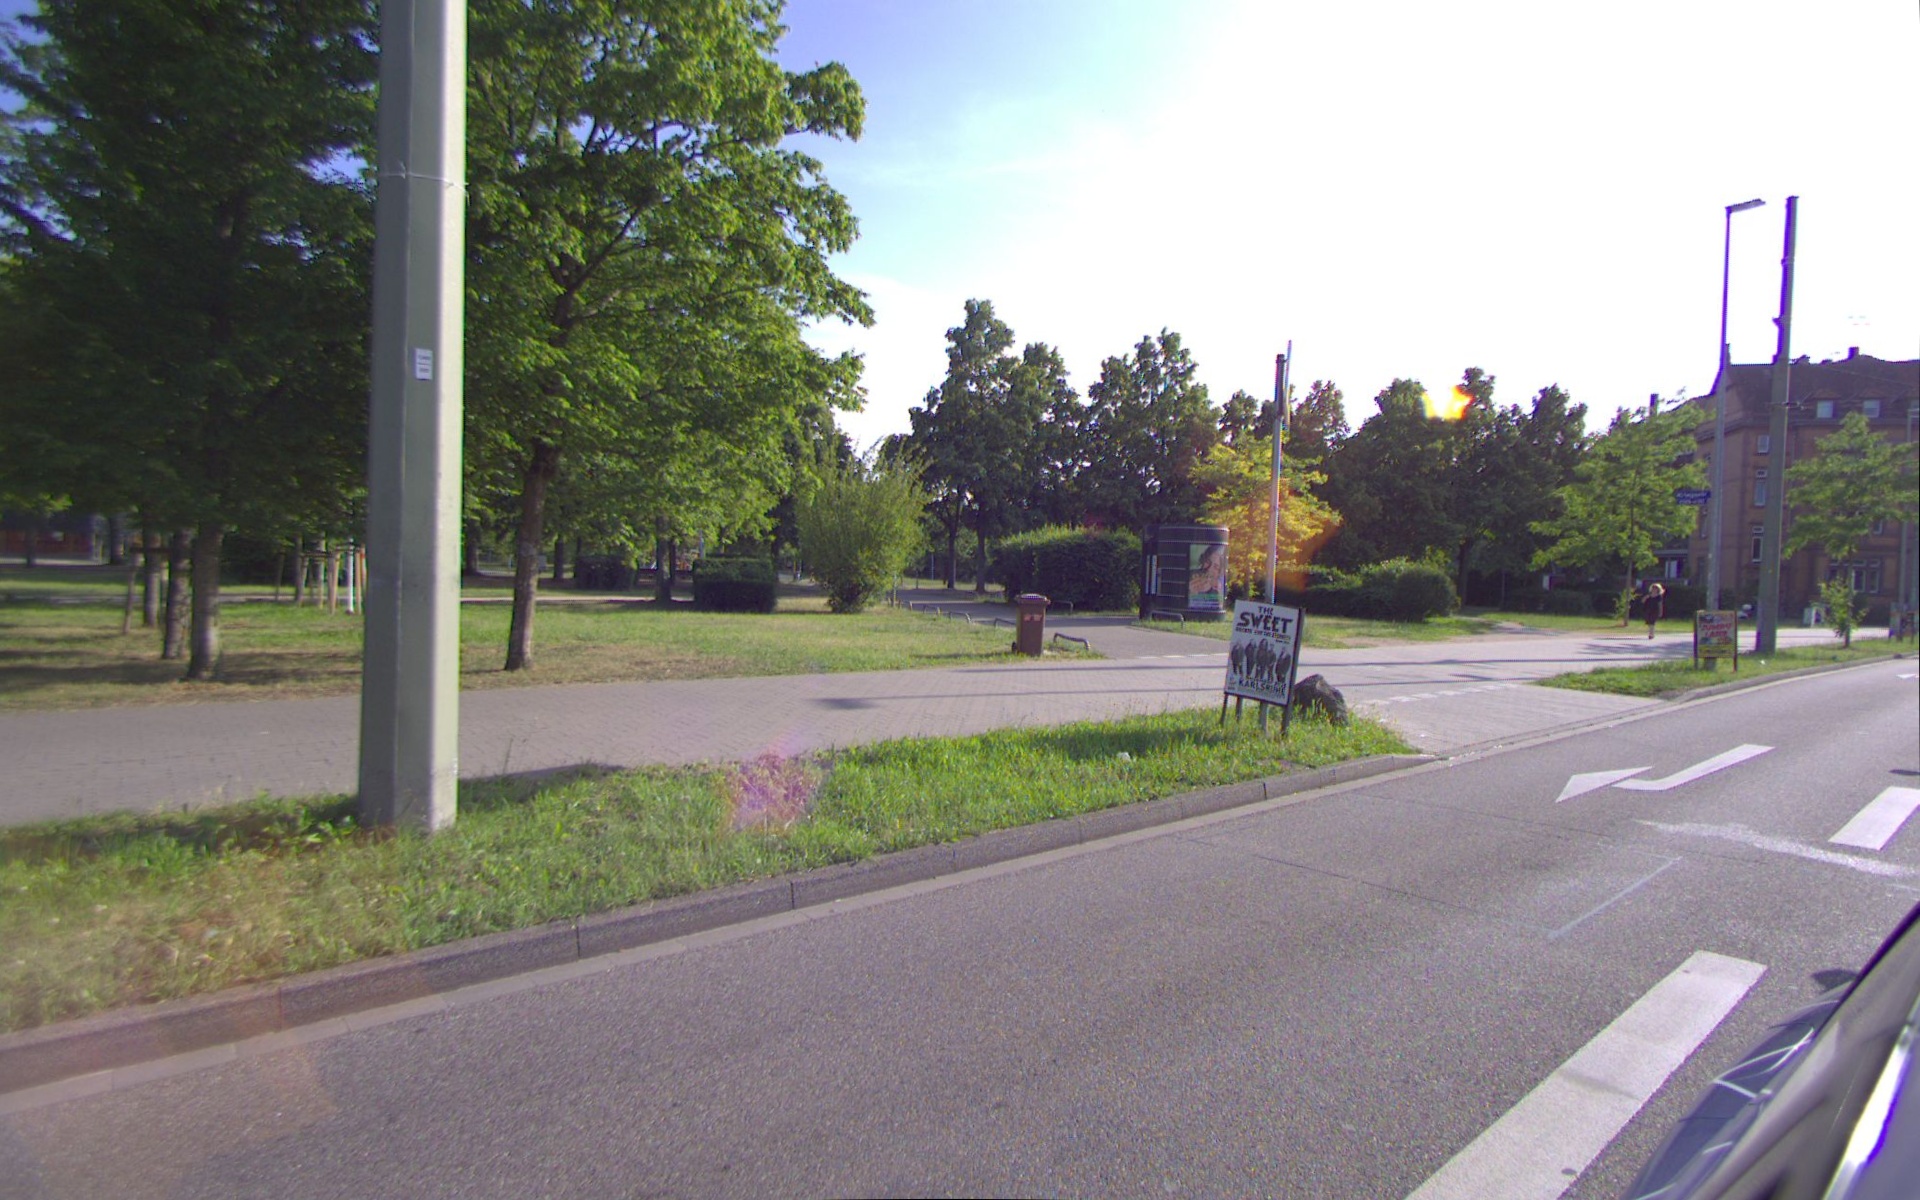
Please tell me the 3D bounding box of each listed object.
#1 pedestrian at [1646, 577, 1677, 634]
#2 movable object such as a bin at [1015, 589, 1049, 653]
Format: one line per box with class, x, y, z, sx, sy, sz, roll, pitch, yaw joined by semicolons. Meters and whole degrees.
pedestrian;21.250;0.157;30.665;0.607;1.706;0.621;1;0;-40
movable object such as a bin;1.093;0.309;15.414;0.447;0.929;0.605;2;2;1
